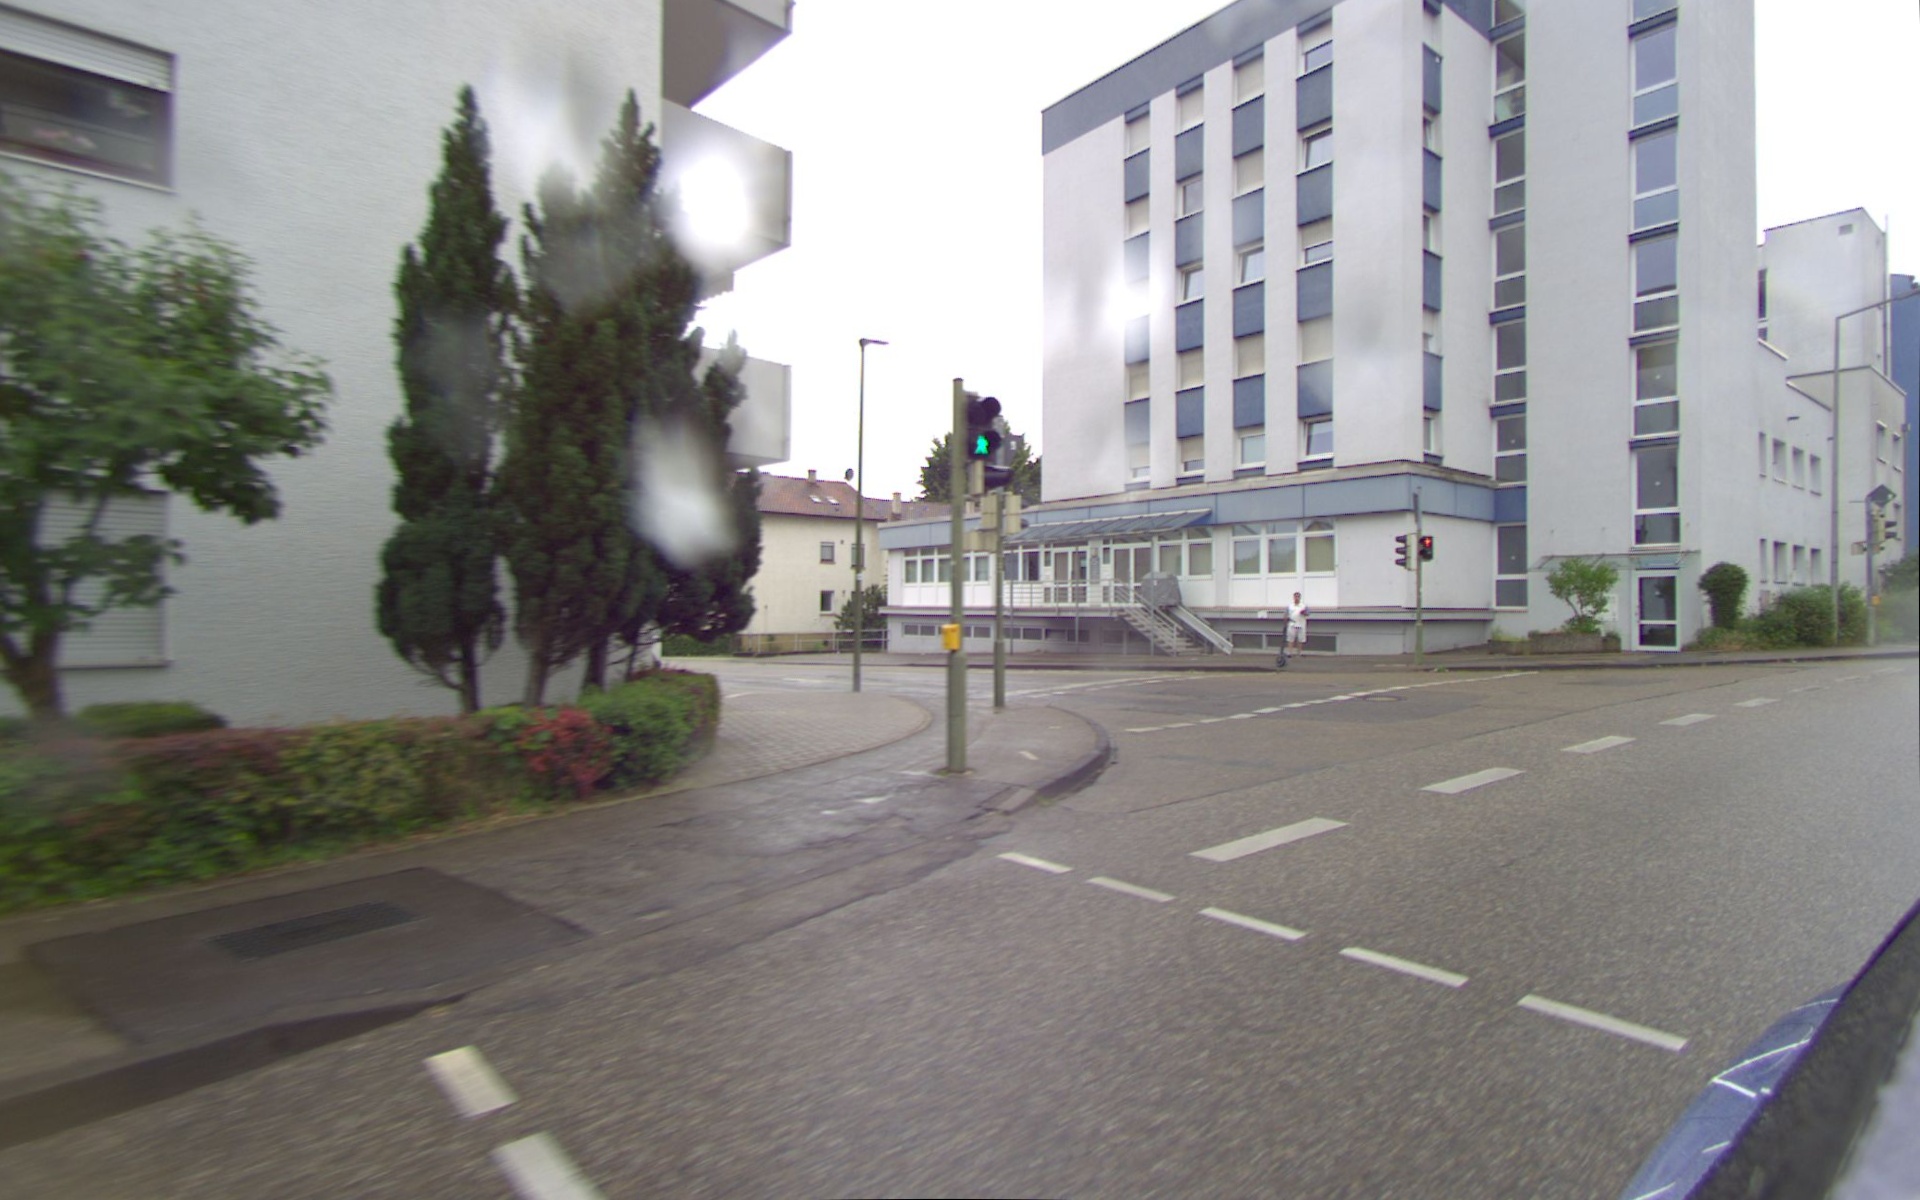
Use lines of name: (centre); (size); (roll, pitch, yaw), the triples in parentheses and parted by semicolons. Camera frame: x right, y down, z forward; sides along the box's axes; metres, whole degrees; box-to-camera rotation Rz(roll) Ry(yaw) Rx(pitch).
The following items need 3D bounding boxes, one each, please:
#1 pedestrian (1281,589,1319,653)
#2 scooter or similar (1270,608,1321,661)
pedestrian: (9.228, 0.573, 27.486); (0.645, 1.673, 0.644); (0, -4, -40)
scooter or similar: (8.306, 0.844, 25.036); (0.797, 1.244, 1.046); (-6, -4, 40)
